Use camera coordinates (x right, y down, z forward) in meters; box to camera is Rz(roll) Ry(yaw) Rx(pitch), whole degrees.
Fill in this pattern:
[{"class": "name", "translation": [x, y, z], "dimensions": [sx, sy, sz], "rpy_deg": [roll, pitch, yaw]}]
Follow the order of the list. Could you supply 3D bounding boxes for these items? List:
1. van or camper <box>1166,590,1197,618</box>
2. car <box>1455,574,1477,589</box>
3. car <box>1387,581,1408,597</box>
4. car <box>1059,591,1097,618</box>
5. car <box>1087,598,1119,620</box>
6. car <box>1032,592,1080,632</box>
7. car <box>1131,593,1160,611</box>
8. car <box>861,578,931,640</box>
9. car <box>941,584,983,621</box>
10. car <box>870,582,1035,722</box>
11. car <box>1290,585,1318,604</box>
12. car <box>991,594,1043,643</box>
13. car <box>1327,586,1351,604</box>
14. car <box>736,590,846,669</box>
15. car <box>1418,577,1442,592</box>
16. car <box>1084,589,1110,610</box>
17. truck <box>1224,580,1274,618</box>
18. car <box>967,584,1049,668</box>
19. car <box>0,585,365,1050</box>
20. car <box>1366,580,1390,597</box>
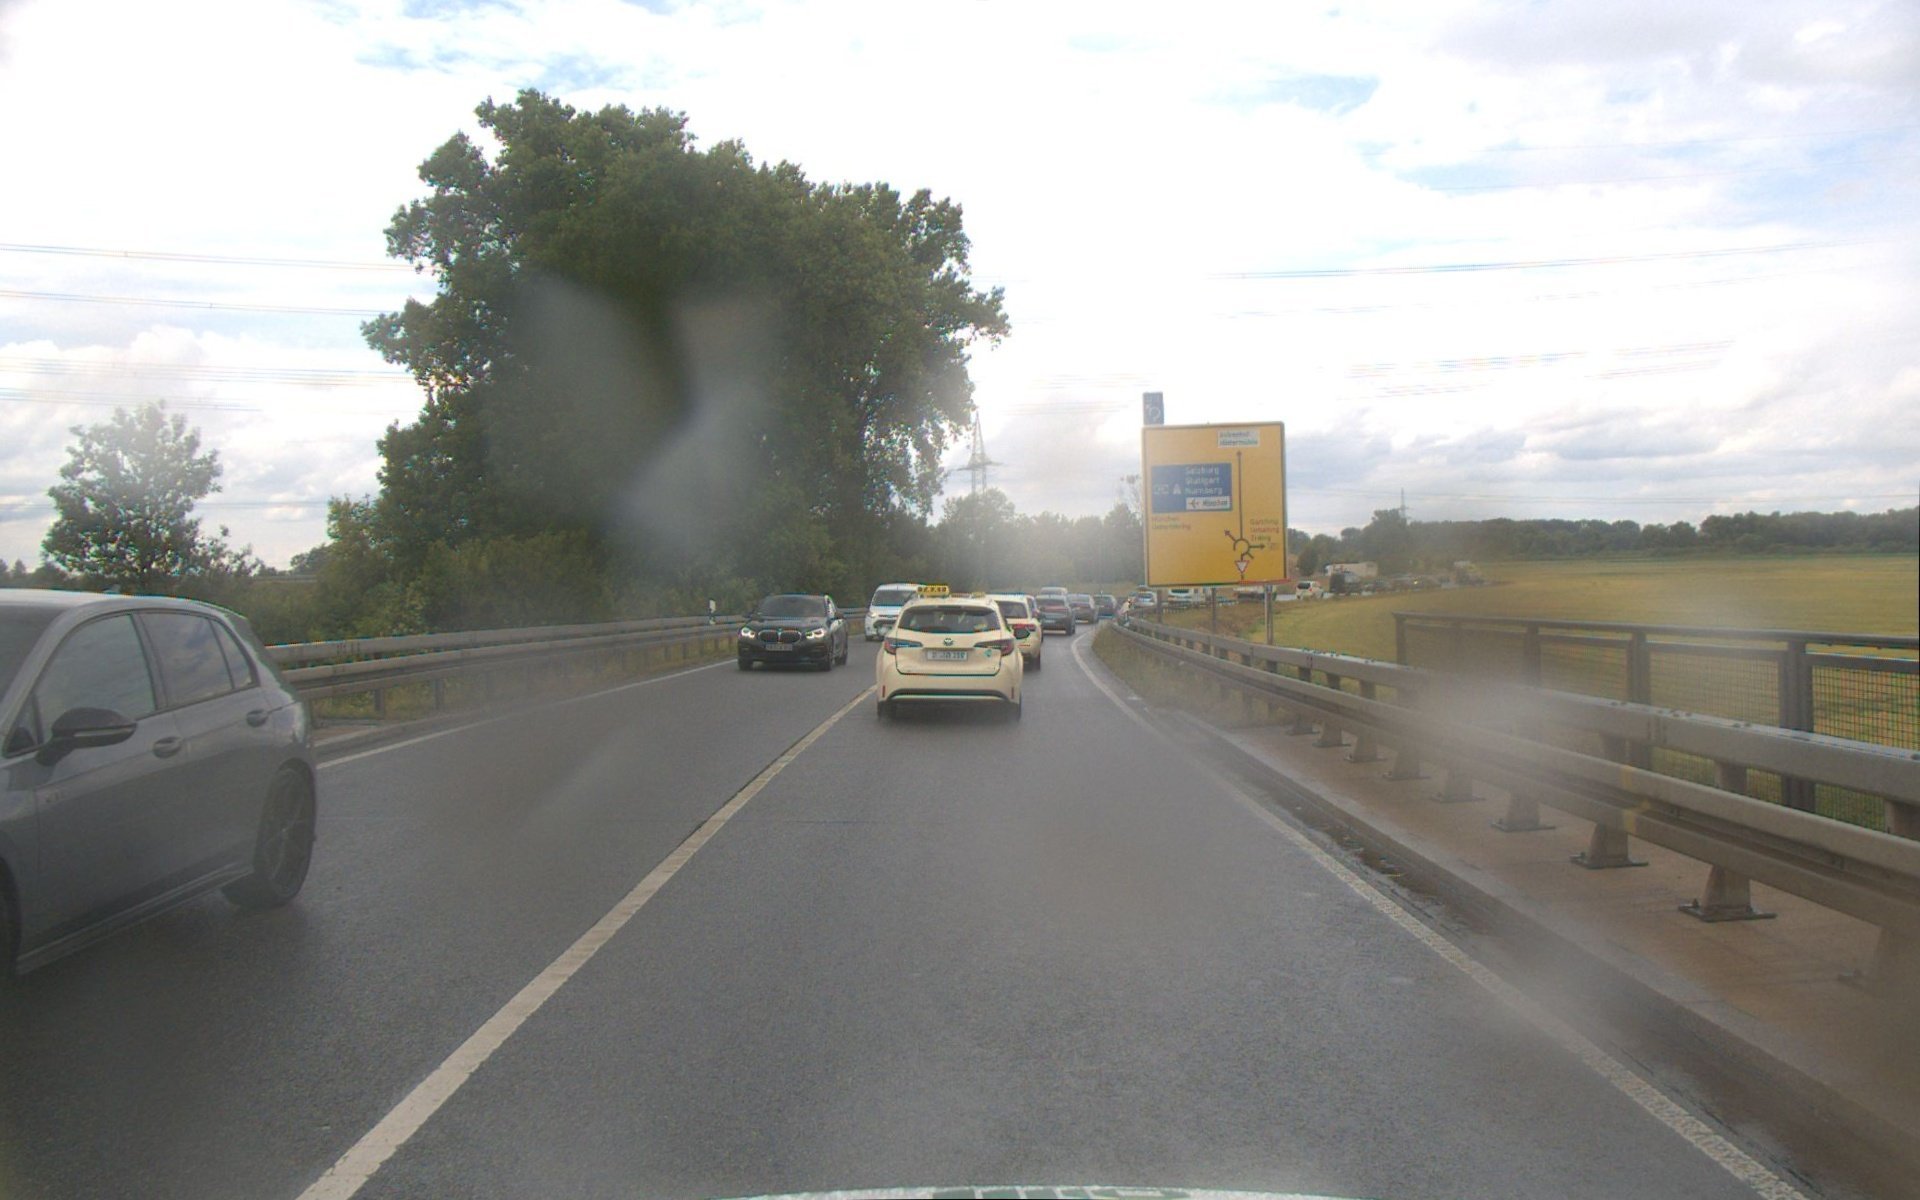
[{"class": "van or camper", "translation": [18.233, 0.328, 135.974], "dimensions": [1.951, 2.293, 4.002], "rpy_deg": [0, 0, 16]}, {"class": "car", "translation": [74.682, -2.747, 244.260], "dimensions": [1.735, 2.049, 3.979], "rpy_deg": [1, 1, 40]}, {"class": "car", "translation": [56.959, -1.456, 215.172], "dimensions": [1.954, 2.049, 3.997], "rpy_deg": [0, 0, 25]}, {"class": "car", "translation": [6.254, 0.253, 87.670], "dimensions": [1.625, 1.434, 3.907], "rpy_deg": [0, -1, 10]}, {"class": "car", "translation": [8.921, 0.566, 102.784], "dimensions": [1.451, 1.332, 3.479], "rpy_deg": [0, 0, 14]}, {"class": "car", "translation": [3.750, 0.459, 64.318], "dimensions": [1.630, 1.489, 3.479], "rpy_deg": [0, 0, 7]}, {"class": "car", "translation": [13.536, 0.130, 120.867], "dimensions": [1.451, 1.332, 3.478], "rpy_deg": [0, 0, 18]}, {"class": "car", "translation": [-2.027, 0.243, 53.333], "dimensions": [1.822, 1.925, 4.492], "rpy_deg": [0, 1, 3]}, {"class": "car", "translation": [0.099, 0.089, 71.269], "dimensions": [1.576, 1.512, 4.002], "rpy_deg": [0, 1, 3]}, {"class": "car", "translation": [-0.036, 0.586, 20.806], "dimensions": [1.866, 1.564, 4.162], "rpy_deg": [0, 0, 1]}, {"class": "car", "translation": [38.240, -0.584, 183.709], "dimensions": [2.124, 2.049, 3.997], "rpy_deg": [0, 0, 25]}, {"class": "car", "translation": [1.751, 0.551, 51.805], "dimensions": [1.475, 1.462, 3.355], "rpy_deg": [1, 0, -1]}, {"class": "car", "translation": [44.732, -0.625, 194.977], "dimensions": [1.954, 2.049, 3.996], "rpy_deg": [0, 0, 26]}, {"class": "car", "translation": [-3.251, 0.546, 32.437], "dimensions": [1.661, 1.424, 4.332], "rpy_deg": [0, 0, 0]}, {"class": "car", "translation": [64.107, -2.131, 225.463], "dimensions": [1.959, 2.049, 3.987], "rpy_deg": [0, -1, 34]}, {"class": "car", "translation": [11.440, -0.013, 137.887], "dimensions": [1.485, 1.751, 3.423], "rpy_deg": [0, 0, 16]}, {"class": "truck", "translation": [28.683, -0.069, 163.860], "dimensions": [3.077, 3.624, 7.516], "rpy_deg": [0, 0, 25]}, {"class": "car", "translation": [1.024, 0.500, 33.746], "dimensions": [1.545, 1.600, 3.683], "rpy_deg": [0, 0, 4]}, {"class": "car", "translation": [-3.940, 0.678, 6.373], "dimensions": [1.797, 1.468, 4.103], "rpy_deg": [1, 0, 0]}, {"class": "car", "translation": [52.553, -1.487, 207.814], "dimensions": [2.181, 2.049, 3.997], "rpy_deg": [0, 0, 25]}]
